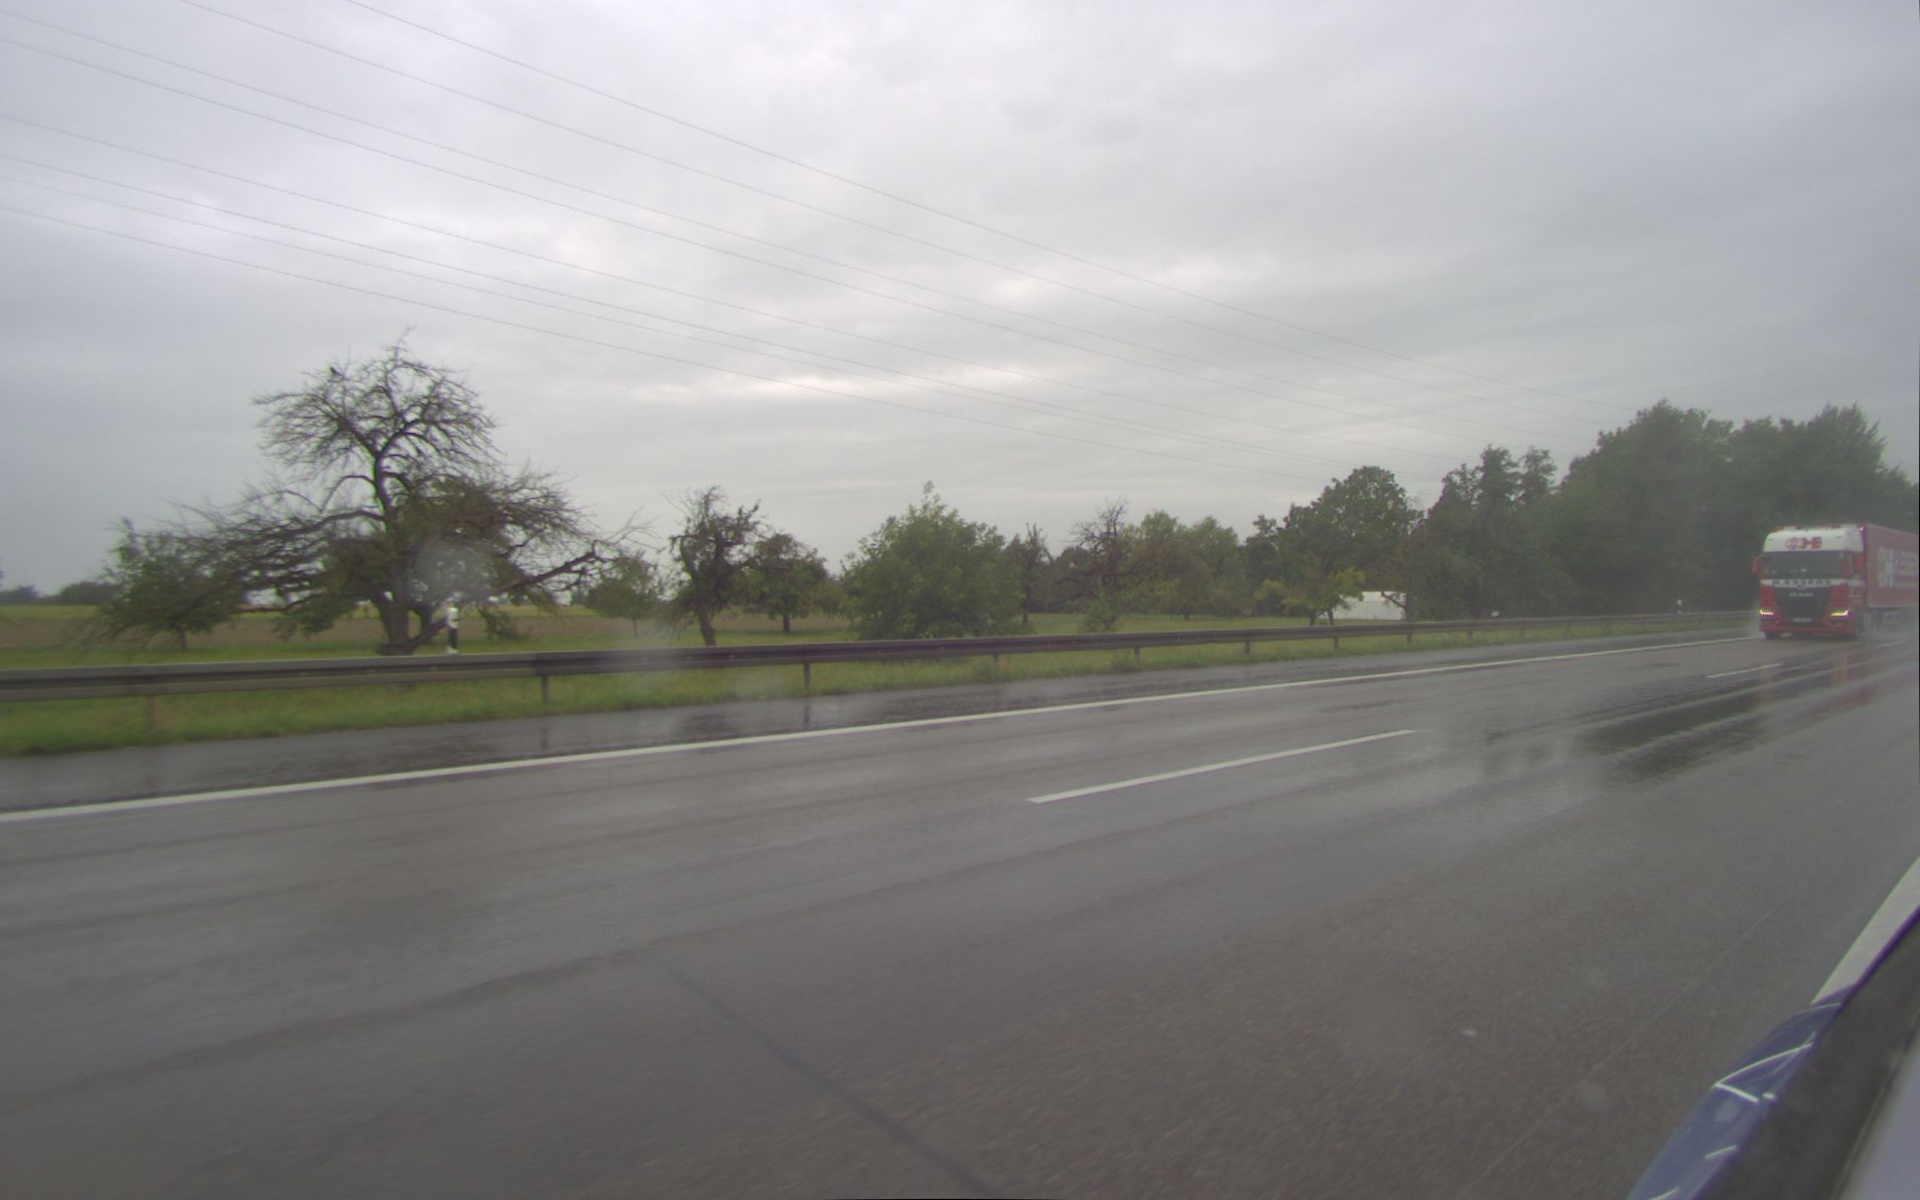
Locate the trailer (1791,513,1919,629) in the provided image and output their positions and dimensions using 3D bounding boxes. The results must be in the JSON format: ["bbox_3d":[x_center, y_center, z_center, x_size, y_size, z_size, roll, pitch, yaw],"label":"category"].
[{"bbox_3d":[36.595,-1.096,40.291,13.382,4.005,2.627,-1,1,-38],"label":"trailer"}]

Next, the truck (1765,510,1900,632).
[{"bbox_3d":[30.990,-0.989,35.901,5.333,4.005,2.627,-1,1,-37],"label":"truck"}]
